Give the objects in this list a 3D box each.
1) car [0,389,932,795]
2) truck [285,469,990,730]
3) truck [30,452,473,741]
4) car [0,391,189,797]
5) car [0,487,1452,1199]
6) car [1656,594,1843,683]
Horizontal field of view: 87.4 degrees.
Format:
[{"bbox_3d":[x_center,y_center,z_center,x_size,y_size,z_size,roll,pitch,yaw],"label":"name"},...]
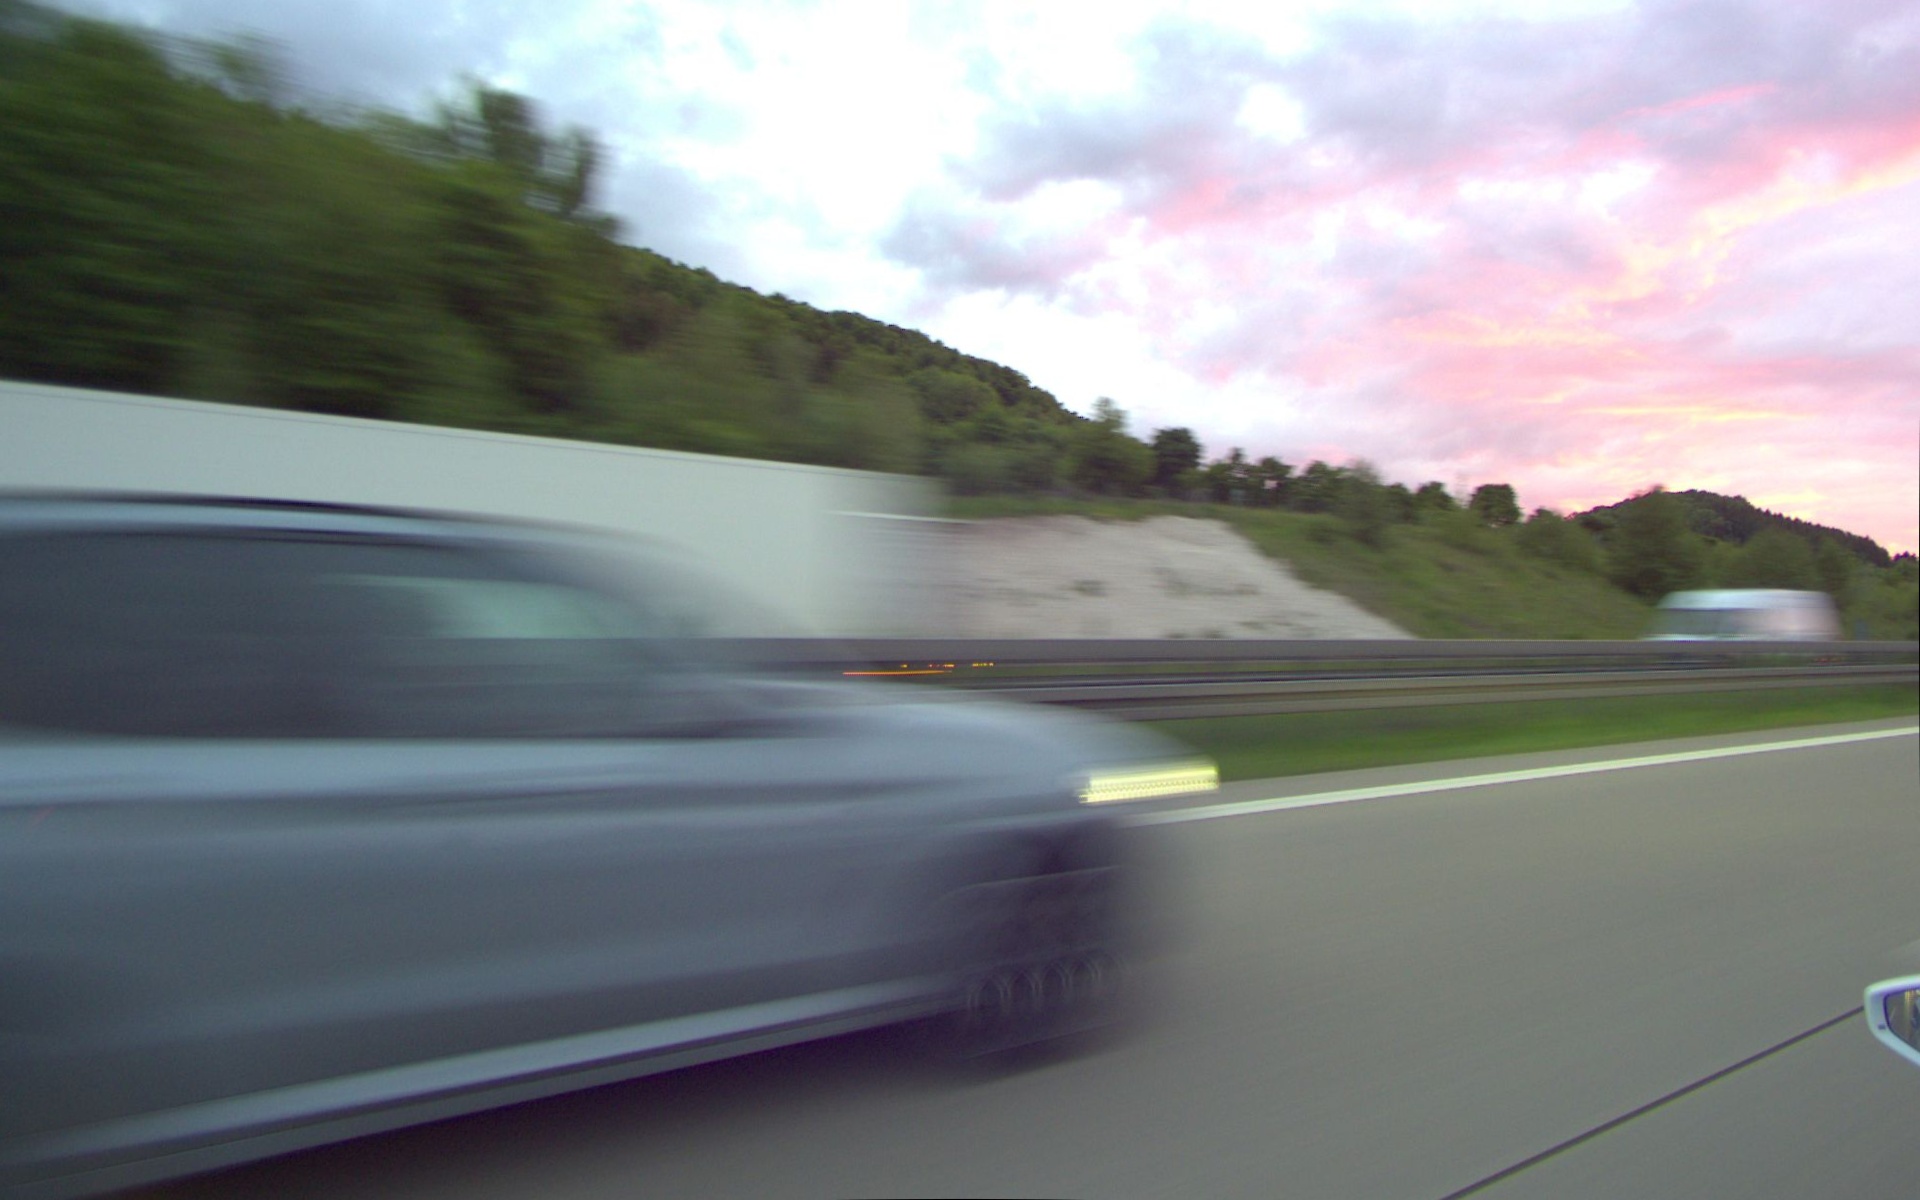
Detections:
[{"bbox_3d":[-7.109,0.041,15.076,13.750,4.546,2.784,2,-1,-31],"label":"car"},{"bbox_3d":[-5.842,0.168,21.011,13.440,4.266,2.882,2,-1,-30],"label":"truck"},{"bbox_3d":[-11.836,0.029,17.507,5.795,4.266,2.843,1,-1,-30],"label":"truck"},{"bbox_3d":[-12.874,-0.095,11.620,5.861,4.546,2.785,1,-1,-31],"label":"car"},{"bbox_3d":[-0.877,0.672,3.462,5.574,1.682,1.880,2,-1,-31],"label":"car"},{"bbox_3d":[22.361,1.082,28.366,6.264,2.317,1.984,2,-1,-30],"label":"car"}]
